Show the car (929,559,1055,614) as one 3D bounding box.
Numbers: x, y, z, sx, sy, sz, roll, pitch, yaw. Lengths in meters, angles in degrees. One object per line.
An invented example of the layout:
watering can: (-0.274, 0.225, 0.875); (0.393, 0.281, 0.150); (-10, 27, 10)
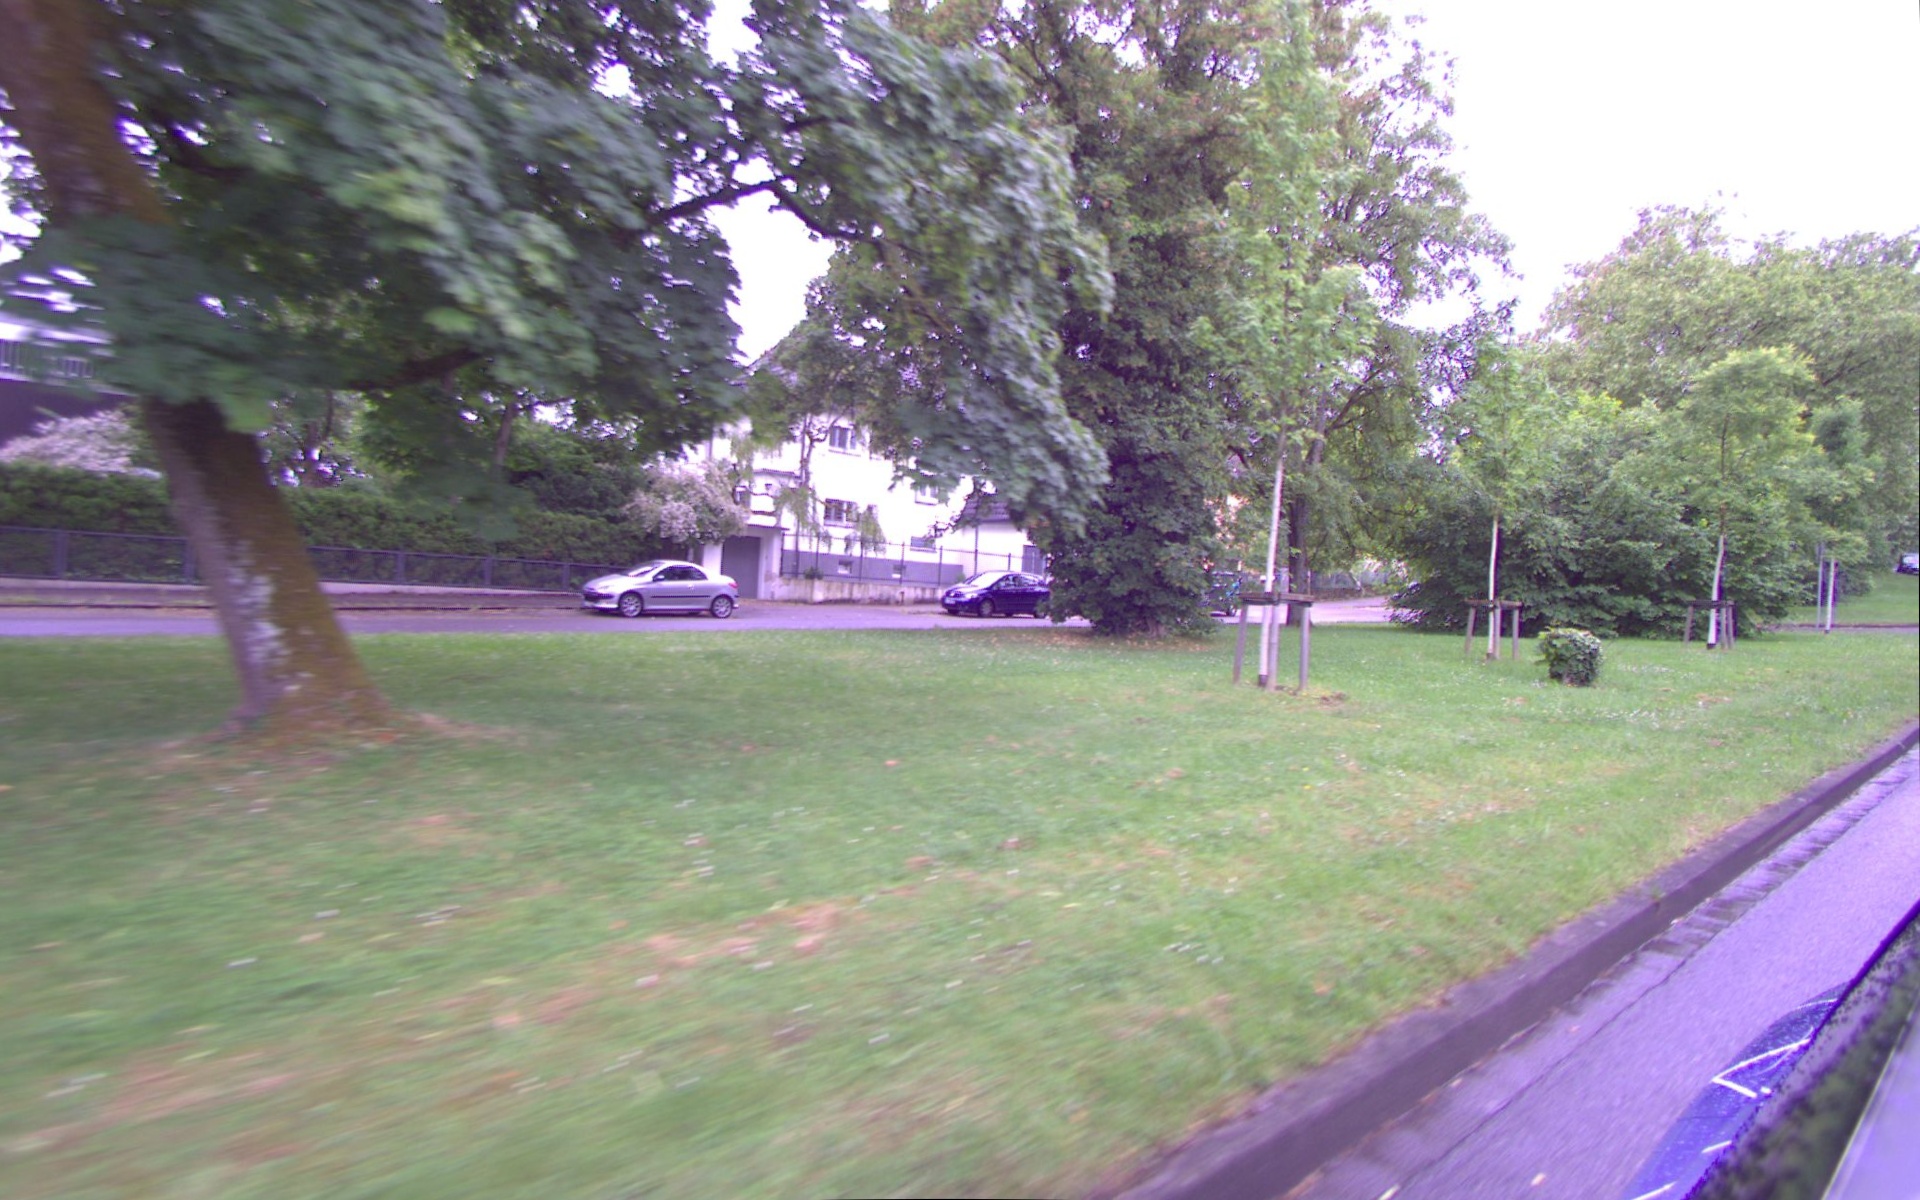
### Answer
car: (1.090, -0.453, 33.284); (3.968, 1.644, 1.904); (-1, 3, -44)

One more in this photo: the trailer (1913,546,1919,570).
trailer: (84.456, -3.696, 88.270); (1.696, 2.078, 3.893); (3, 4, 42)

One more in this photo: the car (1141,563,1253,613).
car: (9.929, -0.528, 42.170); (4.986, 1.901, 2.162); (-1, 3, -44)

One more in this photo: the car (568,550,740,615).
car: (-7.434, -0.439, 24.746); (3.648, 1.392, 1.684); (0, 5, -44)

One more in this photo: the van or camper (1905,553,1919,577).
van or camper: (80.881, -2.938, 84.973); (1.993, 1.891, 5.581); (4, 5, 42)
